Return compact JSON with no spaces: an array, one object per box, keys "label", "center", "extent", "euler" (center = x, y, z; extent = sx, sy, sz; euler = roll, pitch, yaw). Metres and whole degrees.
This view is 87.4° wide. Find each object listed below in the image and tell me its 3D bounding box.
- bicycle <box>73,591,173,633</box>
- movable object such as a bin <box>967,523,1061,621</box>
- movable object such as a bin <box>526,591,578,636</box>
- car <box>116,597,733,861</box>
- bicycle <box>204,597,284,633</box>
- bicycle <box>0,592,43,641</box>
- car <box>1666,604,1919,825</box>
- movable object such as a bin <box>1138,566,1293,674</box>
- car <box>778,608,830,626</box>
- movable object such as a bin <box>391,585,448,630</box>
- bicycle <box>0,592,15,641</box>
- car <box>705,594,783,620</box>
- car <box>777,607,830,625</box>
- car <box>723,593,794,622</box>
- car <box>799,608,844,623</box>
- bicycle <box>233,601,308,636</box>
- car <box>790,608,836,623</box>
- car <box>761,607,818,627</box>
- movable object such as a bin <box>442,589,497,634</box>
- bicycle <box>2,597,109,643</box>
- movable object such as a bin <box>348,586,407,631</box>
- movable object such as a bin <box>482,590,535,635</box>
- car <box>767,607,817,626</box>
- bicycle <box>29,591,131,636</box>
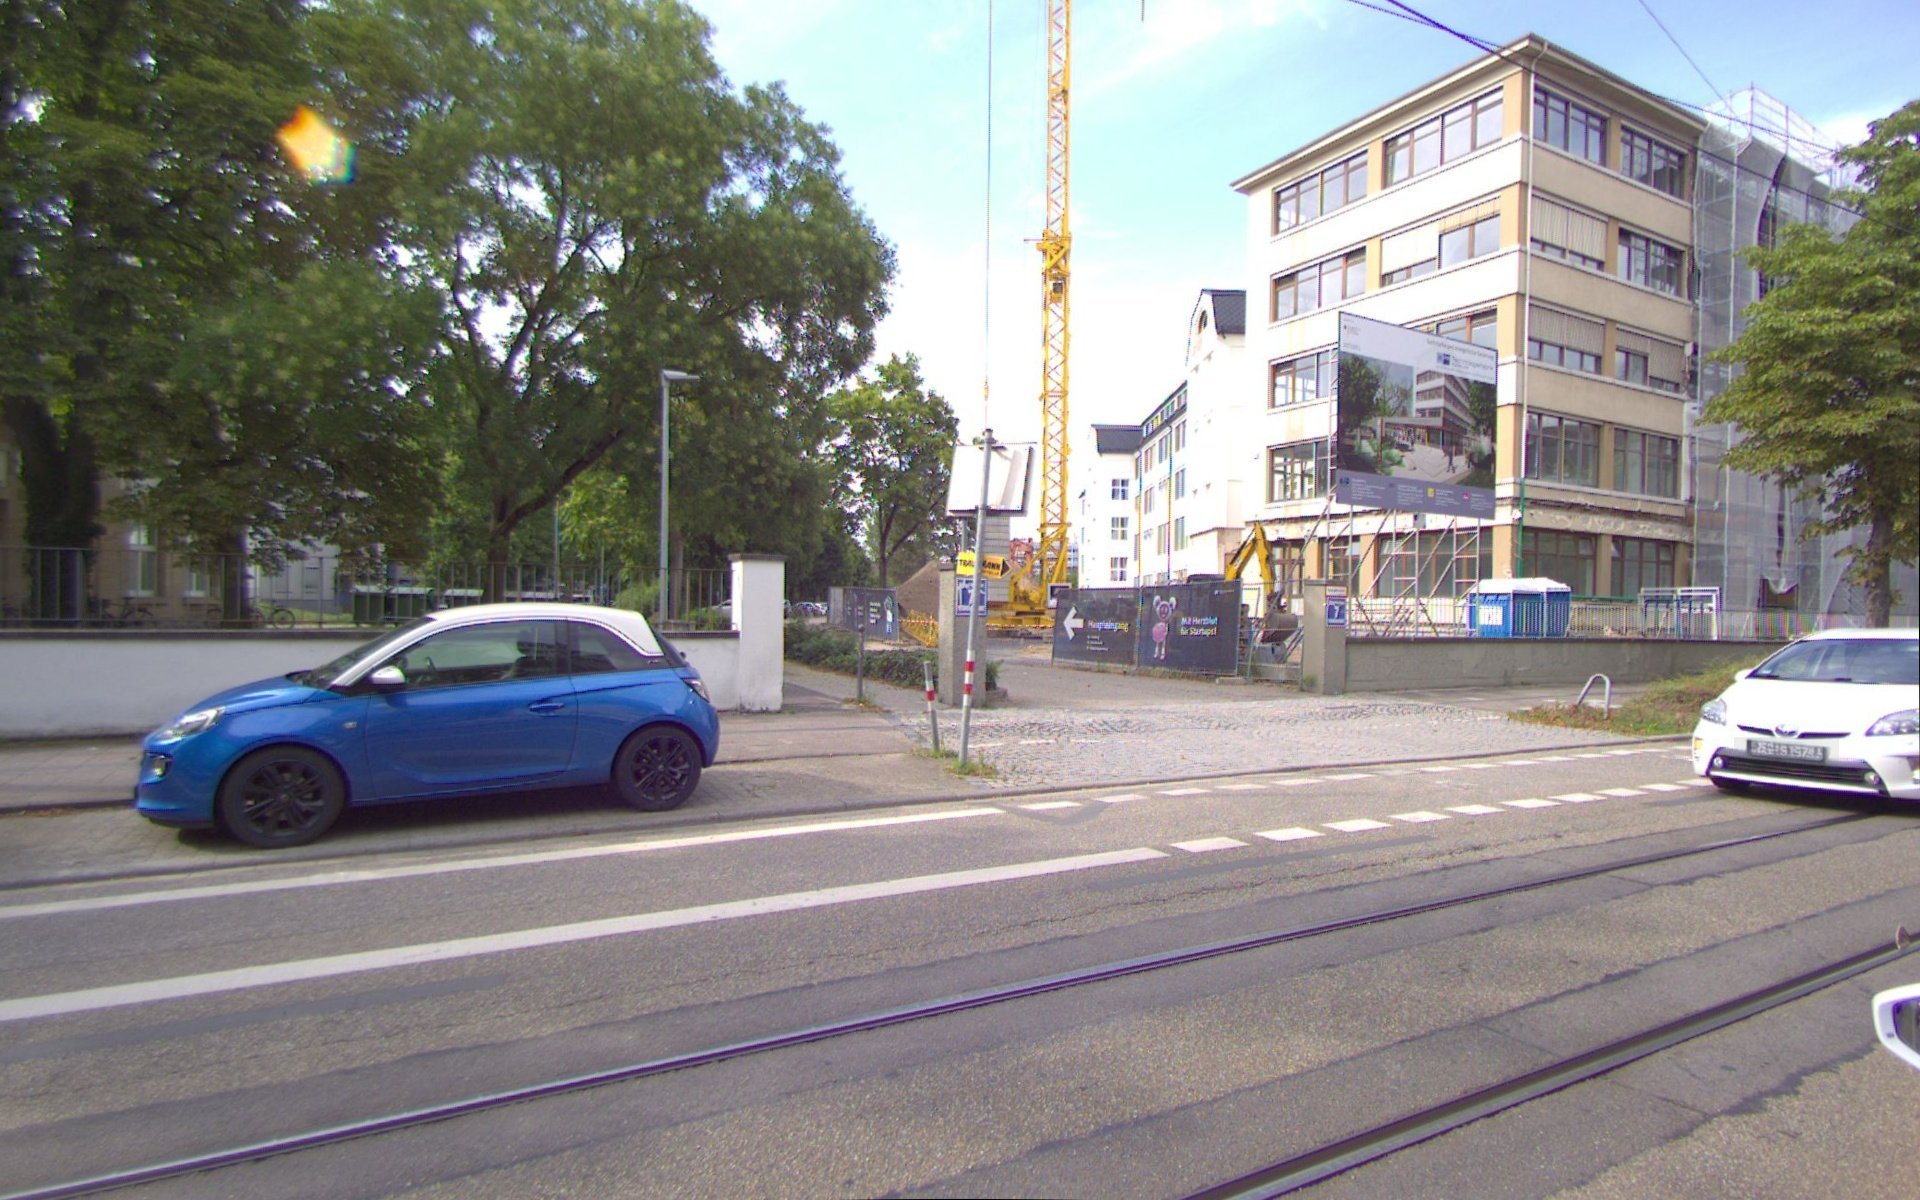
[{"label":"bicycle","center":[-22.349,0.328,26.861],"extent":[1.953,1.057,0.590],"euler":[1,1,-28]},{"label":"movable object such as a bin","center":[4.253,-1.870,75.038],"extent":[3.781,6.758,10.988],"euler":[2,0,20]},{"label":"movable object such as a bin","center":[-13.585,0.459,33.469],"extent":[1.259,1.449,1.122],"euler":[2,0,-2]},{"label":"car","center":[-3.638,0.760,7.306],"extent":[3.560,1.484,1.620],"euler":[1,0,-30]},{"label":"bicycle","center":[-22.083,0.466,30.997],"extent":[1.940,1.057,0.594],"euler":[1,1,-4]},{"label":"bicycle","center":[-21.919,0.352,22.597],"extent":[1.940,1.057,0.594],"euler":[1,1,-4]},{"label":"car","center":[8.553,0.894,9.245],"extent":[4.282,1.634,1.724],"euler":[1,-1,-30]},{"label":"movable object such as a bin","center":[6.280,0.482,24.990],"extent":[2.459,2.475,3.048],"euler":[2,0,-19]},{"label":"car","center":[-14.699,1.579,94.801],"extent":[4.719,1.508,1.997],"euler":[2,0,-8]},{"label":"movable object such as a bin","center":[-18.014,0.244,33.507],"extent":[1.259,1.449,1.122],"euler":[2,0,-2]},{"label":"bicycle","center":[-21.835,0.334,21.817],"extent":[1.940,1.057,0.594],"euler":[1,1,-4]},{"label":"car","center":[-13.831,0.451,64.599],"extent":[4.719,1.508,1.997],"euler":[2,0,-8]},{"label":"car","center":[-14.313,1.477,91.976],"extent":[4.719,1.508,1.997],"euler":[2,0,-8]},{"label":"car","center":[-15.183,0.570,75.890],"extent":[4.965,1.979,1.999],"euler":[2,0,-4]},{"label":"car","center":[-15.029,1.643,108.886],"extent":[4.719,1.508,1.997],"euler":[2,0,-8]},{"label":"bicycle","center":[-22.204,0.596,32.353],"extent":[1.940,1.057,0.594],"euler":[1,1,-4]},{"label":"car","center":[-15.511,1.641,105.874],"extent":[4.719,1.508,1.997],"euler":[2,0,-8]},{"label":"car","center":[-14.540,1.441,85.990],"extent":[4.719,1.508,1.997],"euler":[2,0,-8]},{"label":"movable object such as a bin","center":[-16.442,0.384,33.706],"extent":[1.259,1.449,1.122],"euler":[2,0,-2]},{"label":"bicycle","center":[-21.862,0.476,24.298],"extent":[1.940,1.057,0.594],"euler":[1,1,-4]},{"label":"movable object such as a bin","center":[-19.377,0.293,33.443],"extent":[1.259,1.449,1.122],"euler":[2,0,-2]},{"label":"movable object such as a bin","center":[-15.103,0.424,33.633],"extent":[1.259,1.449,1.122],"euler":[2,0,-2]},{"label":"car","center":[-14.786,1.470,88.655],"extent":[4.268,1.564,1.751],"euler":[2,0,-8]},{"label":"bicycle","center":[-21.947,0.329,25.079],"extent":[1.940,1.057,0.594],"euler":[1,1,-4]}]
